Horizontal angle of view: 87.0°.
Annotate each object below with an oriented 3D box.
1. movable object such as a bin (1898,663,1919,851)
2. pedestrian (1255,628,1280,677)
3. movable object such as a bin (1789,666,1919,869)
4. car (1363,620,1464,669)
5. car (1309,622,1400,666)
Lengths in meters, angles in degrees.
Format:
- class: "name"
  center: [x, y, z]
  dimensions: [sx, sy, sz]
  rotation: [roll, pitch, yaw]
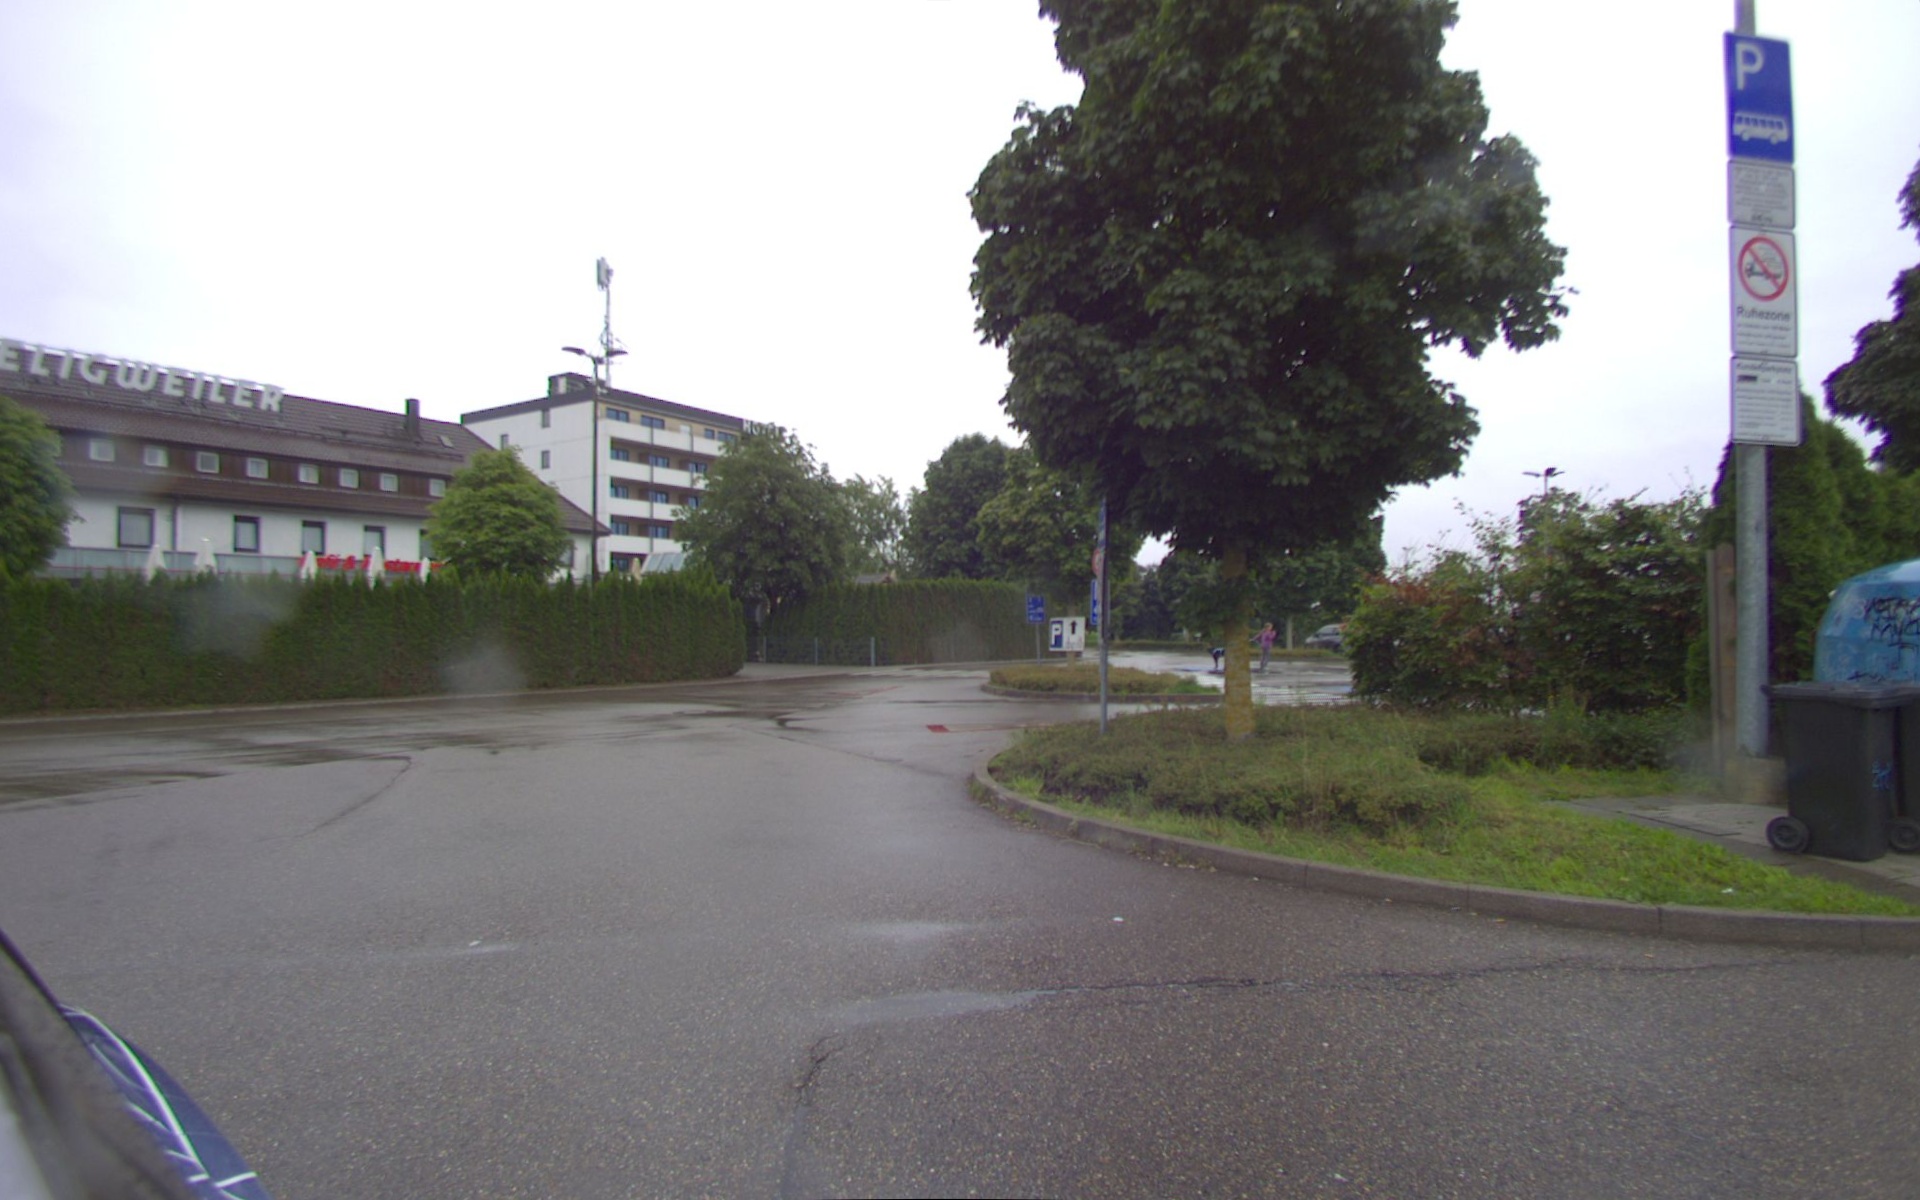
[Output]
- class: "movable object such as a bin"
  center: [5.300, 0.827, 5.333]
  dimensions: [0.449, 0.956, 0.400]
  rotation: [-2, -1, 35]
- class: "pedestrian"
  center: [8.689, 1.483, 28.627]
  dimensions: [0.640, 1.372, 0.449]
  rotation: [1, -2, 21]
- class: "movable object such as a bin"
  center: [4.720, 0.841, 5.278]
  dimensions: [0.428, 0.956, 0.474]
  rotation: [-1, 0, -31]
- class: "car"
  center: [18.655, 1.830, 41.873]
  dimensions: [1.693, 1.876, 4.376]
  rotation: [1, -3, -9]
- class: "car"
  center: [16.296, 1.826, 42.006]
  dimensions: [1.693, 1.729, 4.034]
  rotation: [1, -3, -9]
